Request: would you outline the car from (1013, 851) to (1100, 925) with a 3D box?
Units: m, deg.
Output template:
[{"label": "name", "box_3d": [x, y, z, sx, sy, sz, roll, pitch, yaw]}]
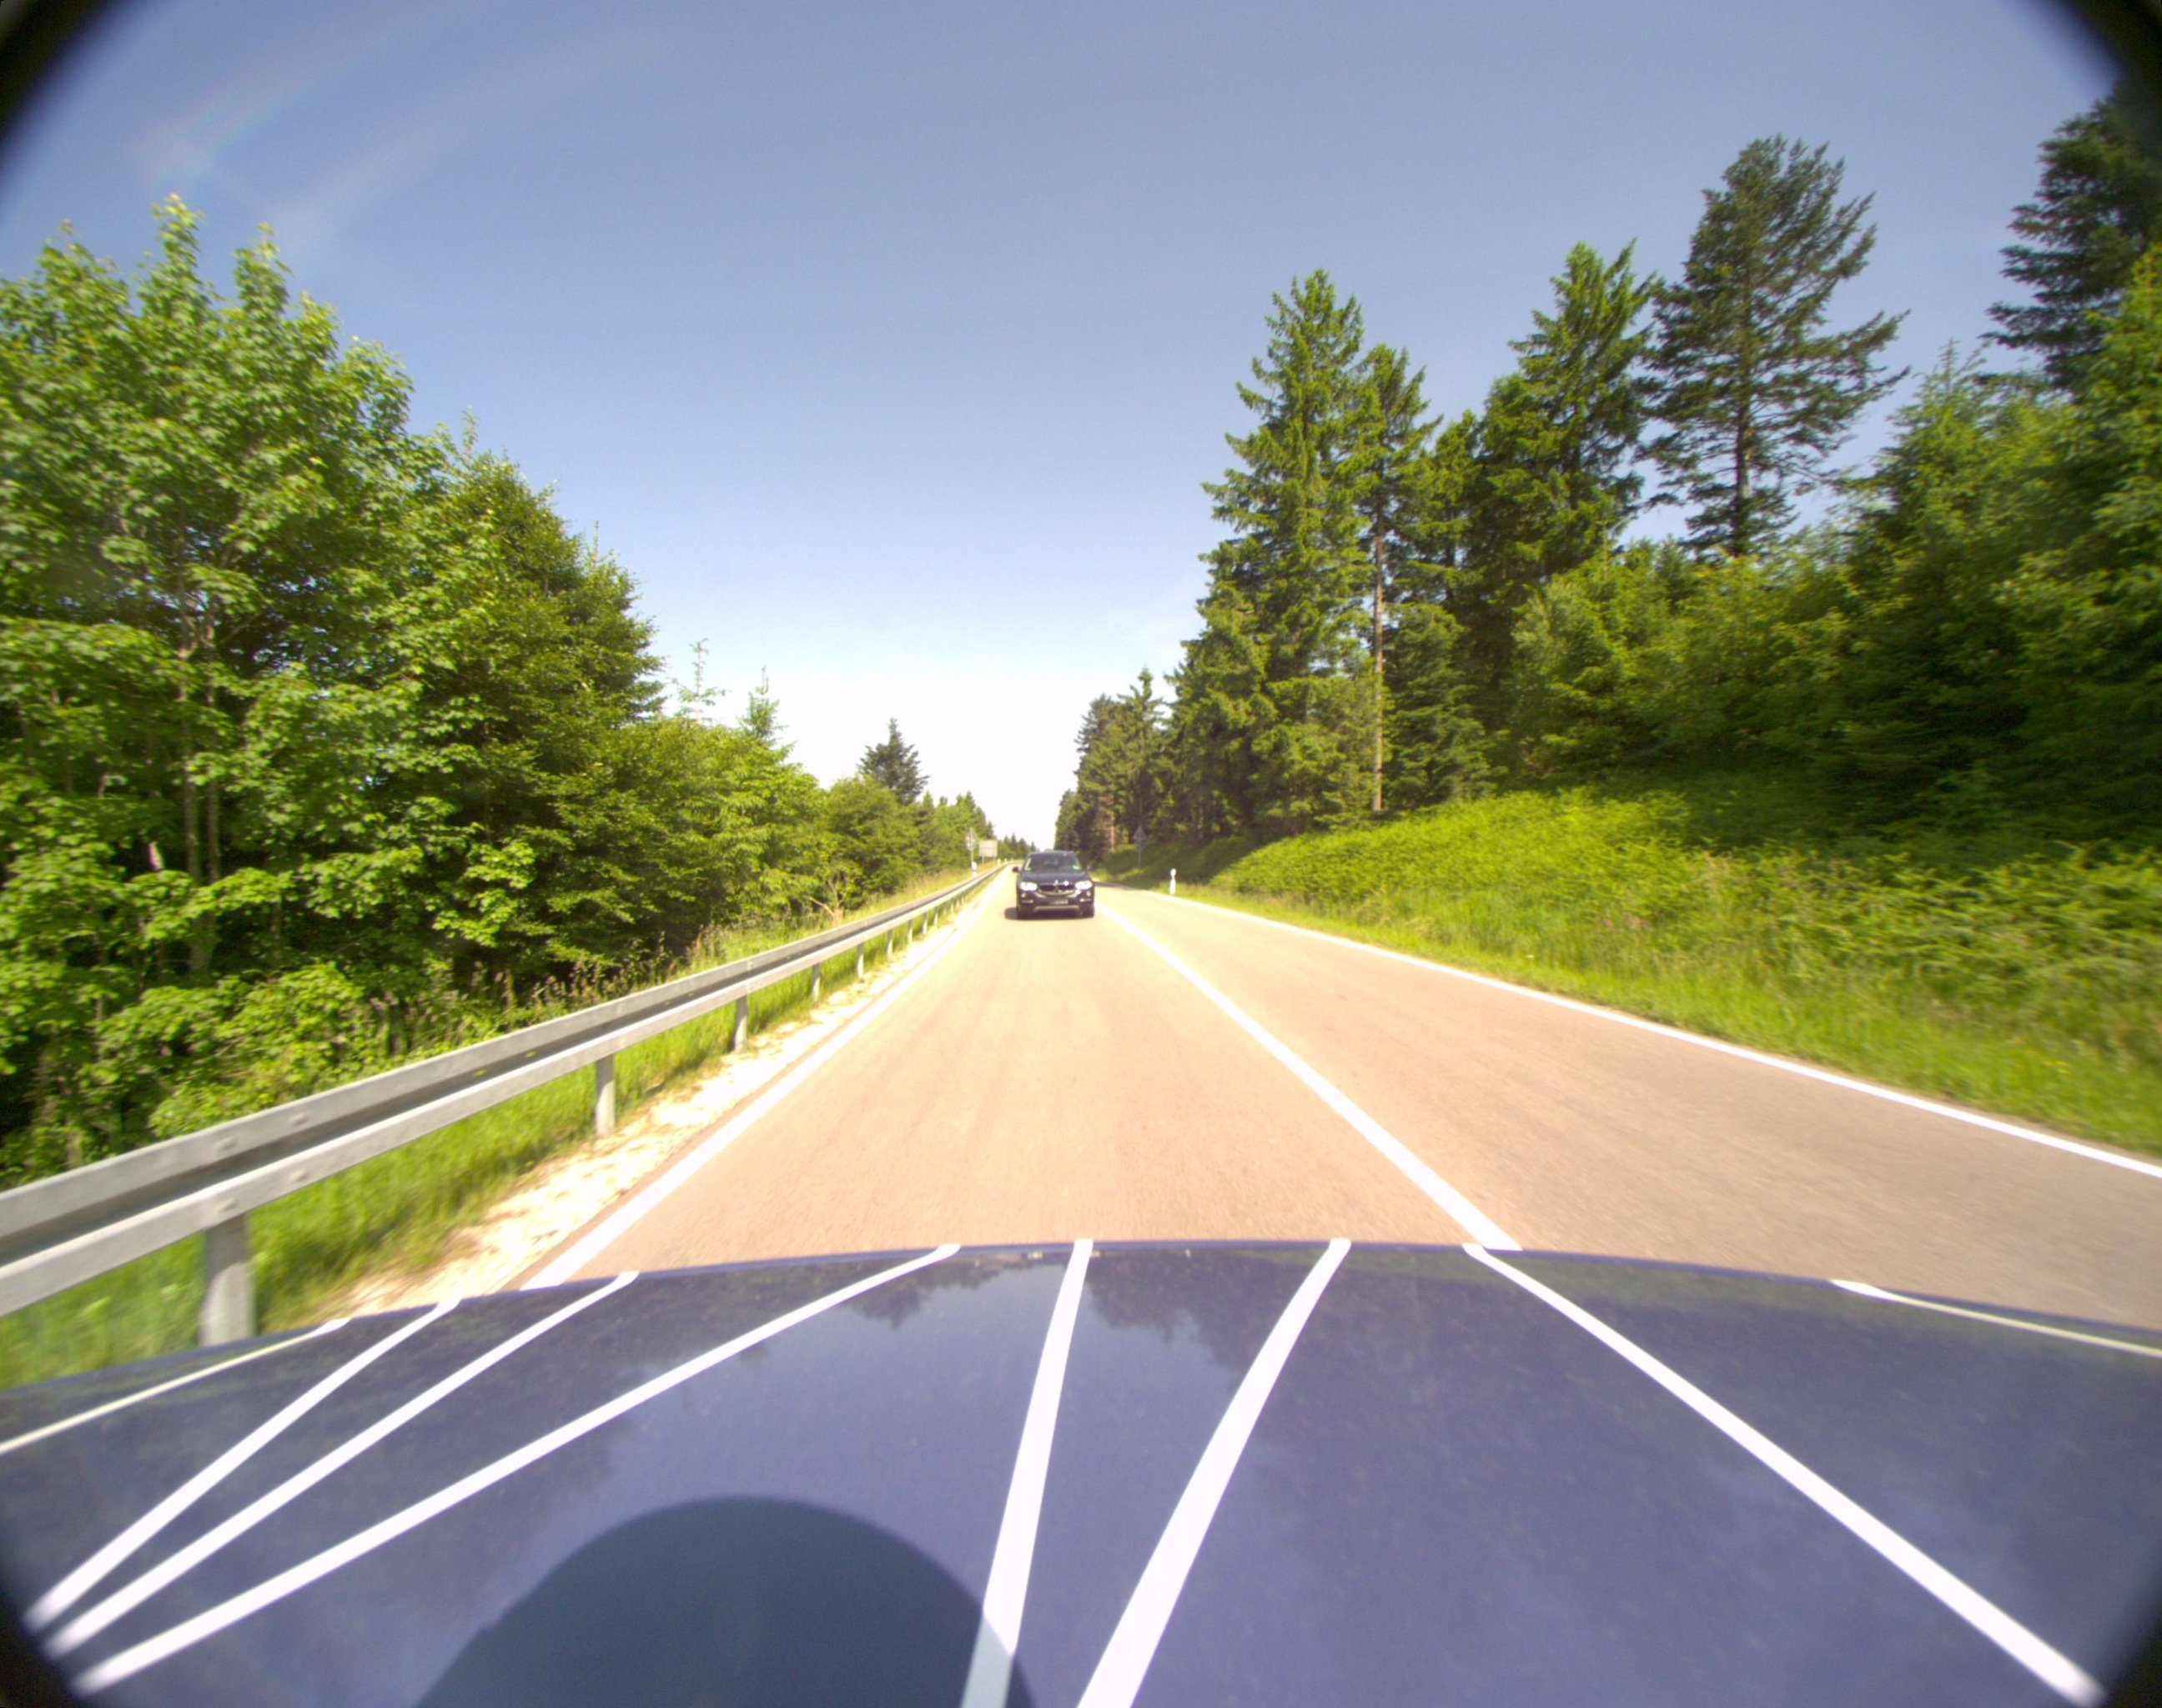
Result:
[{"label": "car", "box_3d": [-0.806, 0.814, 20.882, 1.999, 1.676, 5.934, -2, 0, -5]}]
